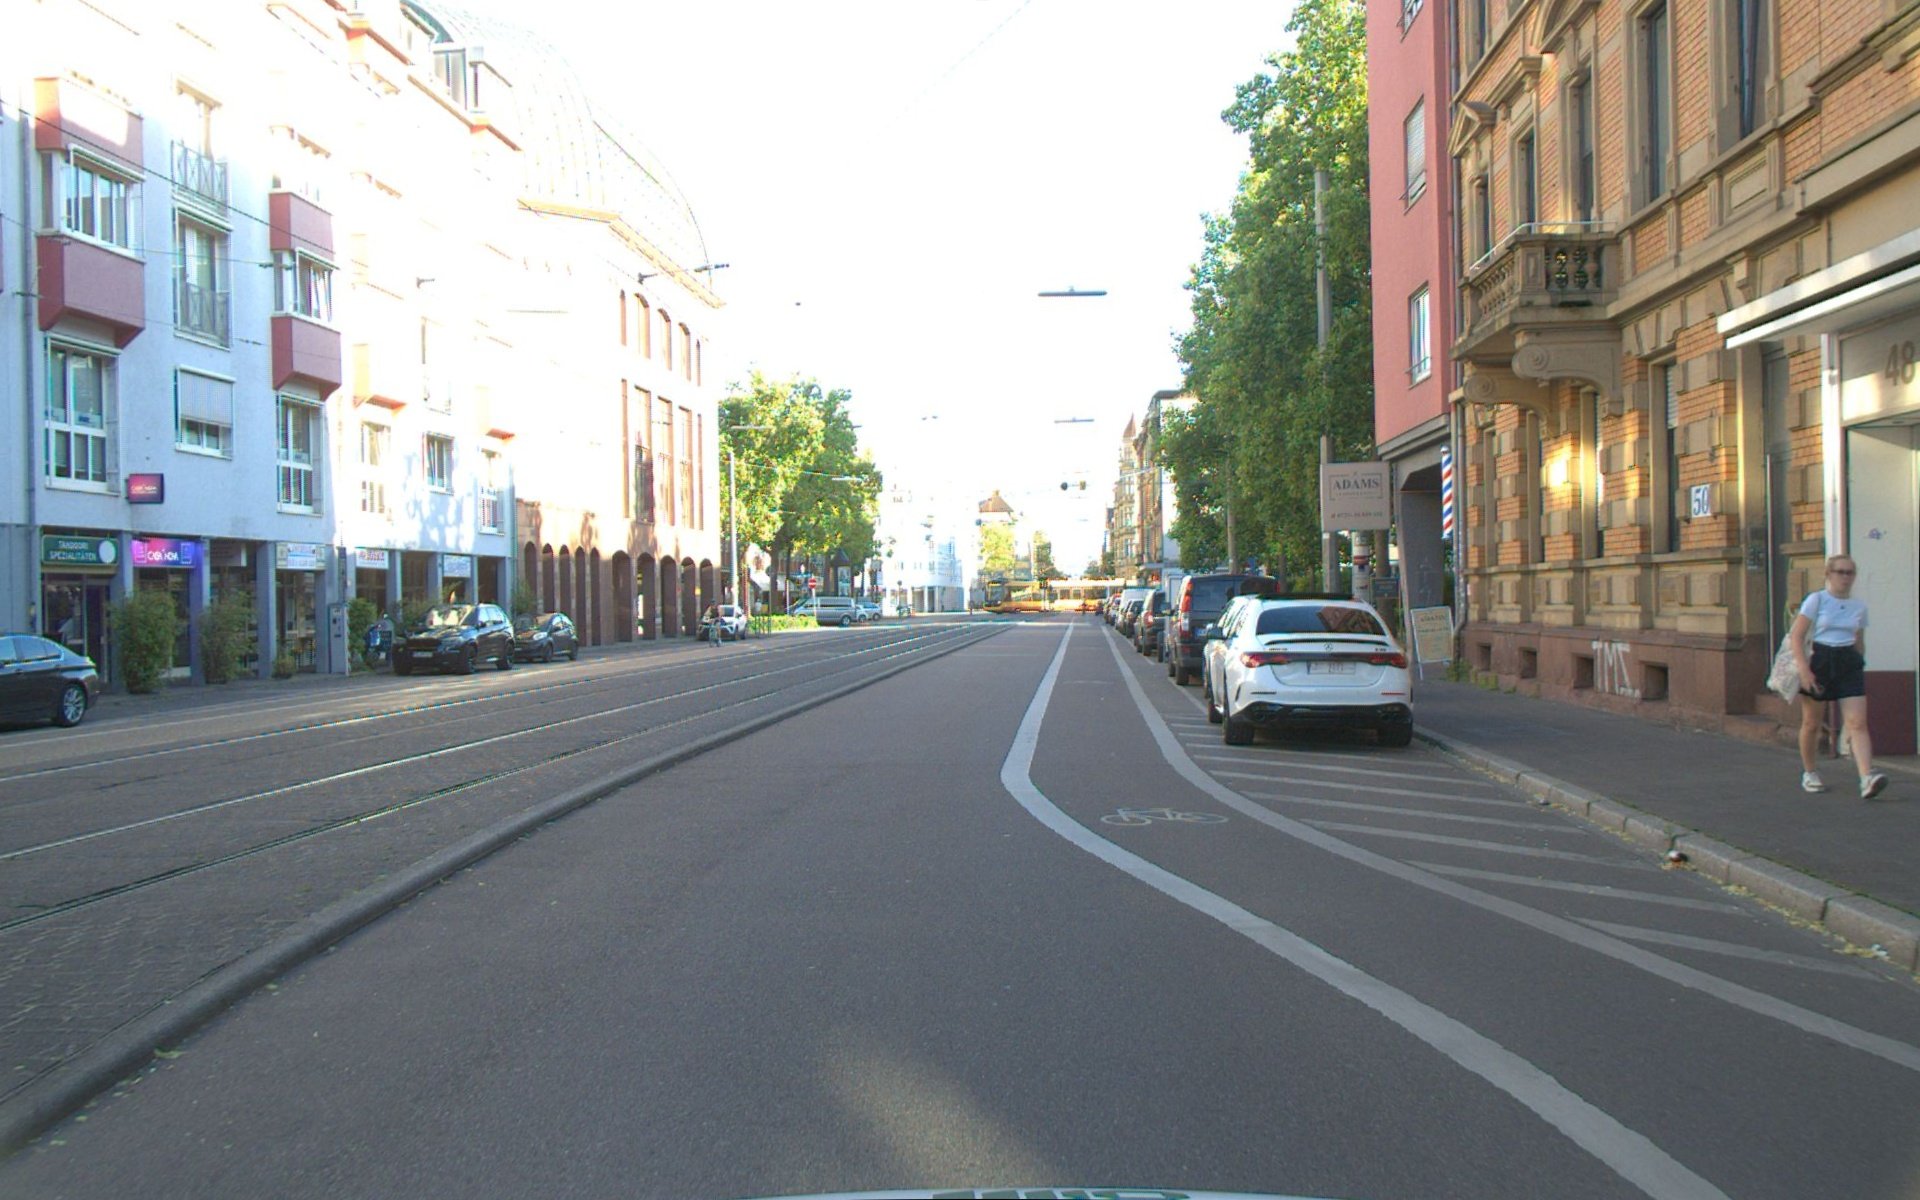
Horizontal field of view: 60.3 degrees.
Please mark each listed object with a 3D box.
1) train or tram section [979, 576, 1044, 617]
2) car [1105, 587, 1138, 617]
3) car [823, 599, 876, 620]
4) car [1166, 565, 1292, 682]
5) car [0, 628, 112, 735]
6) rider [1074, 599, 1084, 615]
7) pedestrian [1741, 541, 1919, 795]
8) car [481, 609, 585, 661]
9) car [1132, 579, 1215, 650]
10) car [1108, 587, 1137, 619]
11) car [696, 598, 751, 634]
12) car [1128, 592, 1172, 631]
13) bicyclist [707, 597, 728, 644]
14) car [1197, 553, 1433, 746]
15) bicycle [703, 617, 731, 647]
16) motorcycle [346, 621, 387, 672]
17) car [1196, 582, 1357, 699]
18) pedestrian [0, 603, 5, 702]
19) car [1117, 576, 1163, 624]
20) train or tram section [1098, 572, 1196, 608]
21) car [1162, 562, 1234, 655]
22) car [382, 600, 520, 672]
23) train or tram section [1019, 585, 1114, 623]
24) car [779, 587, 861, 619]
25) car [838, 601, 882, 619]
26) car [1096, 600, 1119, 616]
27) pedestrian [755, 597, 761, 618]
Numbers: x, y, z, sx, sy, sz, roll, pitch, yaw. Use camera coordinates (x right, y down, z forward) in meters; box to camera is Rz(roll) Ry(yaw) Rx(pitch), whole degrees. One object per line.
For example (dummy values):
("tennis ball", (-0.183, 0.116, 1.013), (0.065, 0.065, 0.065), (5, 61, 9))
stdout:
("train or tram section", (5.519, -0.314, 173.043), (2.637, 4.029, 12.087), (2, 0, 22))
("car", (9.147, 0.096, 94.043), (1.687, 1.595, 4.085), (-2, 0, 4))
("car", (-8.971, 0.798, 134.297), (3.822, 1.656, 1.859), (1, 0, -27))
("car", (4.755, 0.377, 29.838), (1.914, 1.901, 4.992), (1, 0, 5))
("car", (-14.520, 1.181, 24.053), (1.830, 1.464, 4.708), (0, 0, 2))
("rider", (10.968, 0.663, 152.647), (0.865, 1.507, 0.713), (1, 0, 5))
("pedestrian", (5.886, 0.440, 11.171), (0.759, 1.594, 0.914), (-4, 0, 7))
("car", (-12.867, 1.027, 50.048), (1.829, 1.476, 3.586), (0, 0, 7))
("car", (5.860, 0.376, 45.940), (1.909, 1.819, 5.183), (1, 0, 3))
("car", (9.830, 0.159, 100.336), (1.587, 1.845, 4.085), (1, 0, 4))
("car", (-10.972, 0.713, 77.007), (1.830, 1.628, 4.255), (0, 0, 2))
("car", (7.393, 0.437, 64.597), (1.587, 1.456, 3.987), (0, 0, 5))
("bicyclist", (-9.263, 0.780, 63.191), (0.559, 1.742, 0.746), (-3, 0, 4))
("car", (3.696, 0.463, 18.050), (1.925, 1.802, 4.878), (0, 0, 5))
("bicycle", (-9.253, 1.209, 62.984), (0.570, 1.096, 2.186), (-3, 0, 4))
("motorcycle", (-14.787, 1.139, 41.234), (0.658, 1.226, 2.134), (1, -1, -12))
("car", (4.422, 0.523, 23.614), (1.694, 1.522, 3.963), (1, 0, 2))
("pedestrian", (-17.263, 0.938, 28.958), (0.601, 1.742, 0.746), (-1, 0, 2))
("car", (8.202, 0.000, 75.518), (1.929, 2.049, 4.561), (-2, 0, 5))
("train or tram section", (21.397, -1.136, 189.178), (11.087, 3.818, 2.684), (2, 0, -21))
("car", (5.788, 0.216, 40.547), (1.669, 2.157, 3.709), (0, -1, 7))
("car", (-13.136, 0.923, 43.033), (2.048, 1.743, 4.819), (1, -1, 0))
("train or tram section", (11.886, 0.506, 182.956), (2.656, 3.946, 12.750), (2, 0, 45))
("car", (-9.712, 0.221, 115.015), (5.192, 2.078, 2.396), (2, -2, -28))
("car", (-8.754, 0.889, 144.406), (3.479, 1.507, 1.568), (1, 0, -28))
("car", (13.675, 0.729, 153.713), (2.022, 1.413, 4.227), (2, 0, 4))
("pedestrian", (-13.652, 0.515, 111.820), (0.356, 1.367, 0.481), (2, 0, -16))
